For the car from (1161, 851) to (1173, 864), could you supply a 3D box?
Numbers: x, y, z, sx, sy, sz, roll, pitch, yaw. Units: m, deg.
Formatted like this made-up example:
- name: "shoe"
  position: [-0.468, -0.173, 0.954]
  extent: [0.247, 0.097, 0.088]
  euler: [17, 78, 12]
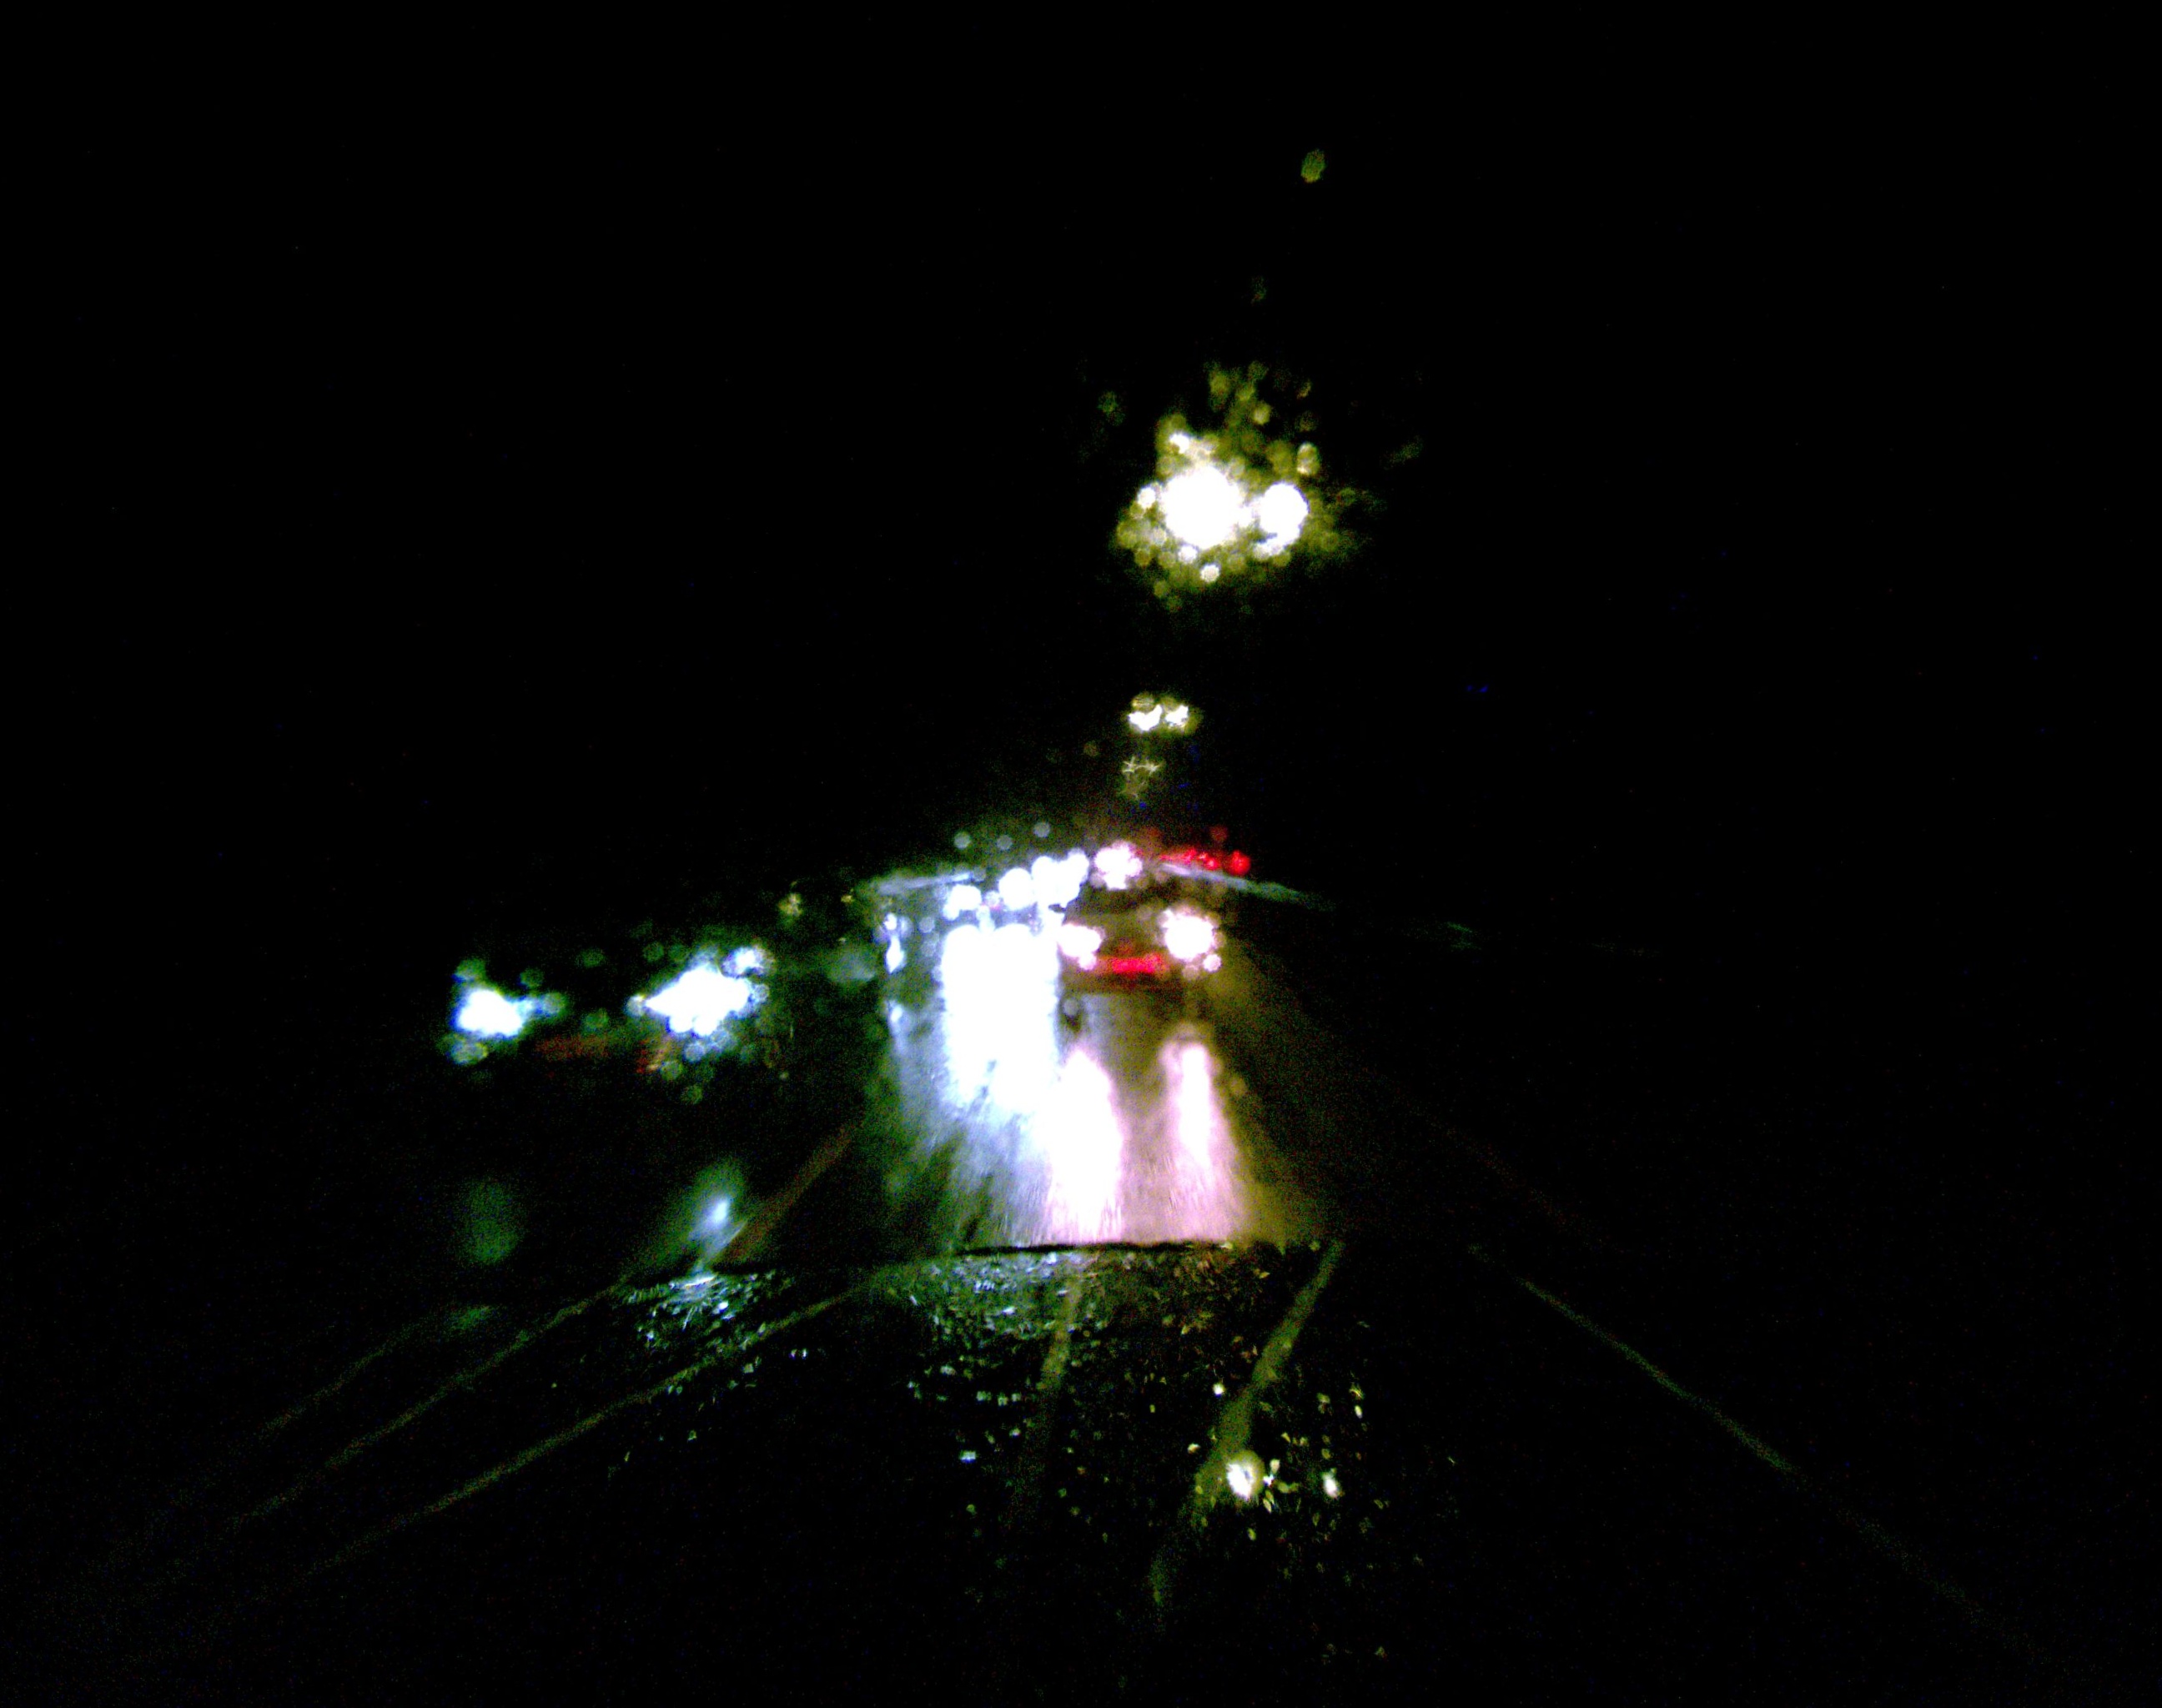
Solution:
- name: "car"
  position: [12.080, 0.485, 106.731]
  extent: [1.623, 1.641, 4.001]
  euler: [-1, 1, 6]

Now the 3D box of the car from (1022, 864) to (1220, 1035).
- name: "car"
  position: [0.464, 0.911, 9.039]
  extent: [1.764, 1.492, 4.001]
  euler: [-3, -1, 3]

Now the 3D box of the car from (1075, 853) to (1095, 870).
- name: "car"
  position: [0.414, 0.795, 81.907]
  extent: [1.998, 1.657, 4.000]
  euler: [-2, 0, 2]

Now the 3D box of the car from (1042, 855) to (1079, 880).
- name: "car"
  position: [-1.289, 0.851, 48.752]
  extent: [1.998, 1.455, 4.001]
  euler: [-2, 0, 3]

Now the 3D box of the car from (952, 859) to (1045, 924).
- name: "car"
  position: [-2.152, 0.953, 21.086]
  extent: [1.826, 1.476, 4.568]
  euler: [-2, 0, 3]

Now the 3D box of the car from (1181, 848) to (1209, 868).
- name: "car"
  position: [9.756, 0.335, 65.527]
  extent: [1.813, 1.559, 4.000]
  euler: [2, 0, 1]

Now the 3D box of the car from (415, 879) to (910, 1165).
- name: "car"
  position: [-3.032, 1.086, 6.898]
  extent: [1.736, 1.440, 4.724]
  euler: [-3, 0, 1]

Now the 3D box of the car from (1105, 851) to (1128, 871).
- name: "car"
  position: [3.342, 0.639, 72.497]
  extent: [1.998, 1.774, 3.999]
  euler: [-3, 1, 0]

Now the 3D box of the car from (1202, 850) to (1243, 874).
- name: "car"
  position: [8.807, 0.473, 47.560]
  extent: [1.820, 1.386, 4.462]
  euler: [2, 0, 2]

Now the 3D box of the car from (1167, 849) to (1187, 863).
- name: "car"
  position: [10.496, 0.207, 83.301]
  extent: [1.571, 1.533, 4.160]
  euler: [1, 1, -2]

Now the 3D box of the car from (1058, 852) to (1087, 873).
- name: "car"
  position: [-0.657, 0.638, 61.391]
  extent: [1.998, 1.531, 4.001]
  euler: [-2, 0, 3]
